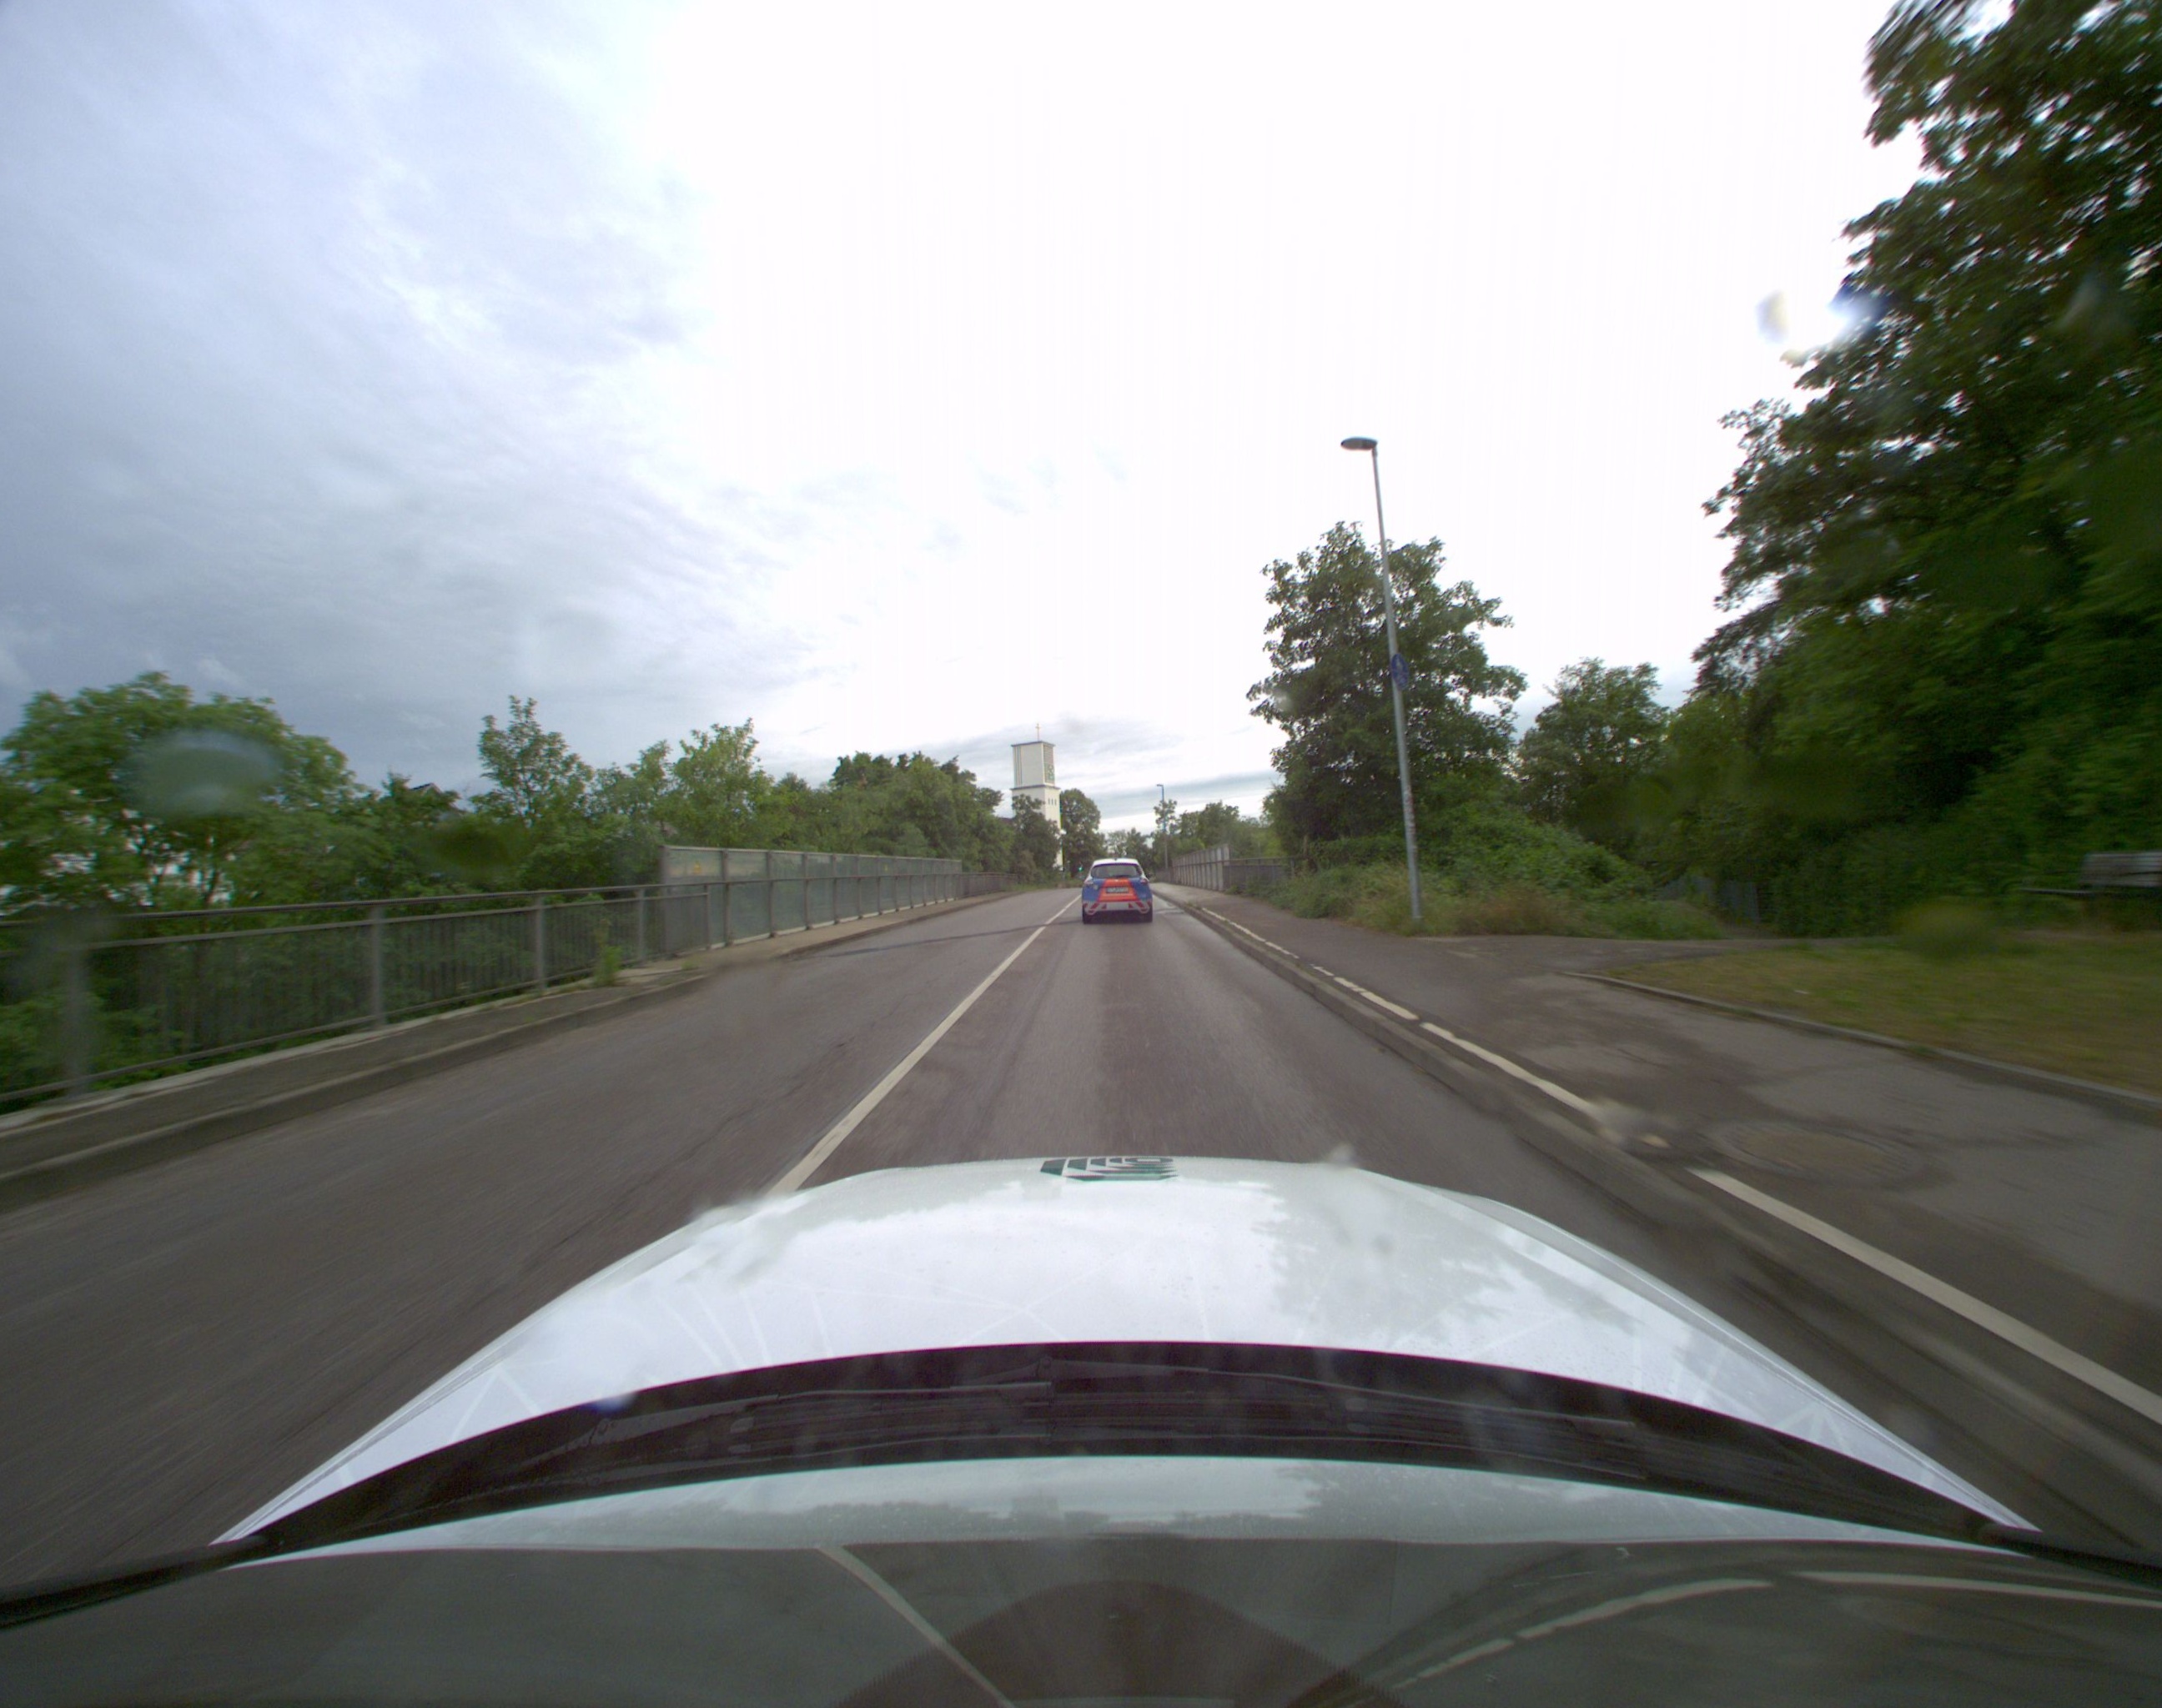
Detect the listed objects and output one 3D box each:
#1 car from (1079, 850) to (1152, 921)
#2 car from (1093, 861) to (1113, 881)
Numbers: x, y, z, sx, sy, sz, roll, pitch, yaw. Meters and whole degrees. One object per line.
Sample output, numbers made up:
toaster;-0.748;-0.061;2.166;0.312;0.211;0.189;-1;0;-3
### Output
car;0.861;0.751;20.788;1.651;1.593;3.569;-3;0;2
car;2.046;1.572;76.106;1.796;1.590;3.564;-4;0;1
